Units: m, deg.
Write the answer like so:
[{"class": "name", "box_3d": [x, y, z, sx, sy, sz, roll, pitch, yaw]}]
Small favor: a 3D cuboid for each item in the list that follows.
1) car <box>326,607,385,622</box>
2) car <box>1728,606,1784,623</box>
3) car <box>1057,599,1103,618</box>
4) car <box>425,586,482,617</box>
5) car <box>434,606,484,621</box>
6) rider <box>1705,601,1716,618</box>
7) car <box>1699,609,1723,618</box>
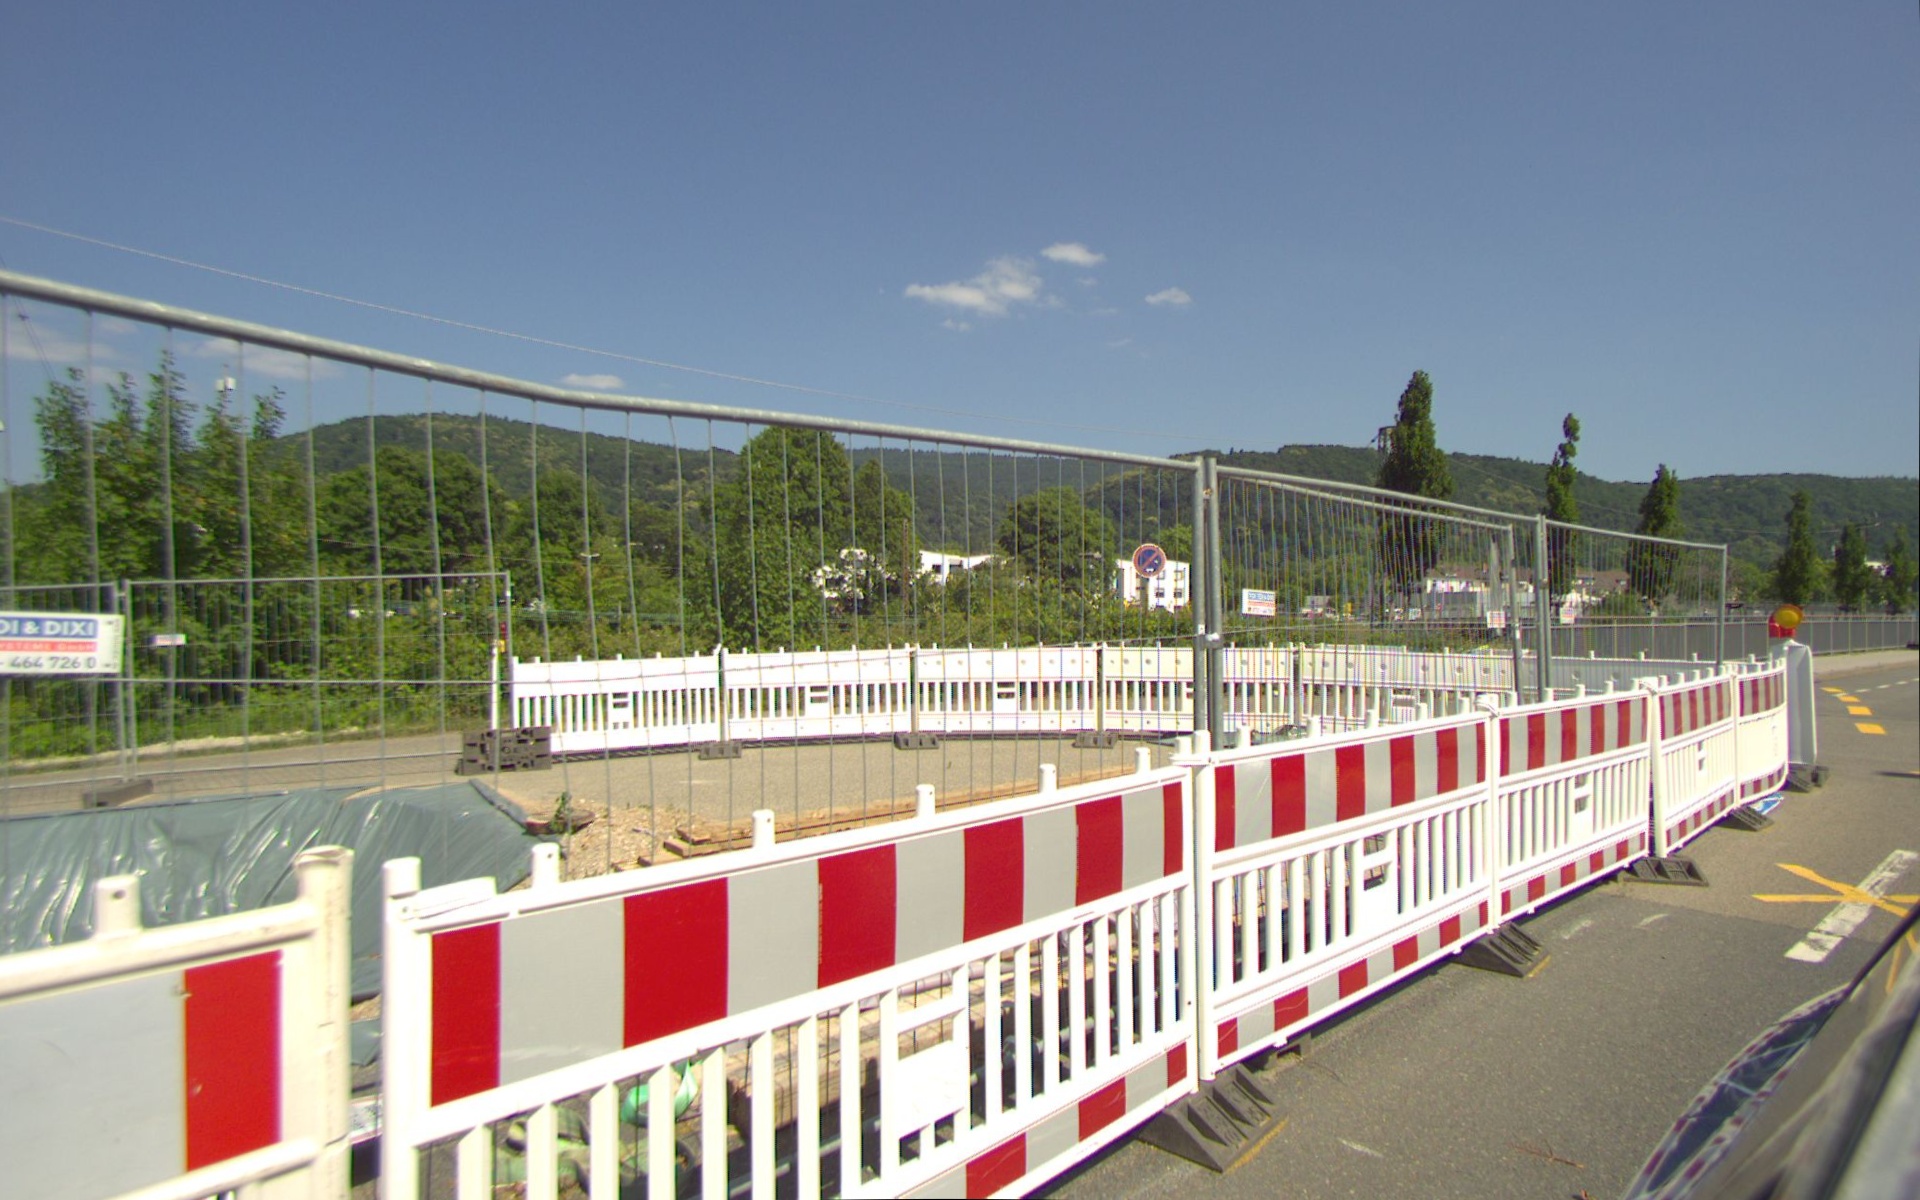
[{"class": "car", "box_3d": [-54.862, 1.323, 91.960, 4.227, 1.384, 1.868, 0, -1, -9]}, {"class": "car", "box_3d": [82.033, 1.471, 104.363, 1.794, 1.647, 4.377, -3, 0, -10]}, {"class": "car", "box_3d": [15.053, 1.103, 126.849, 5.406, 2.130, 2.137, -1, -5, -27]}, {"class": "car", "box_3d": [-47.895, 0.172, 95.848, 4.543, 2.888, 1.869, 0, -1, -17]}, {"class": "car", "box_3d": [-46.185, 1.223, 93.312, 3.762, 1.384, 1.786, 0, -1, -12]}, {"class": "rider", "box_3d": [83.456, 1.053, 112.547, 0.536, 1.836, 0.687, -3, 0, -10]}, {"class": "car", "box_3d": [83.466, 1.506, 112.529, 0.564, 0.913, 2.387, -3, 0, -11]}]
